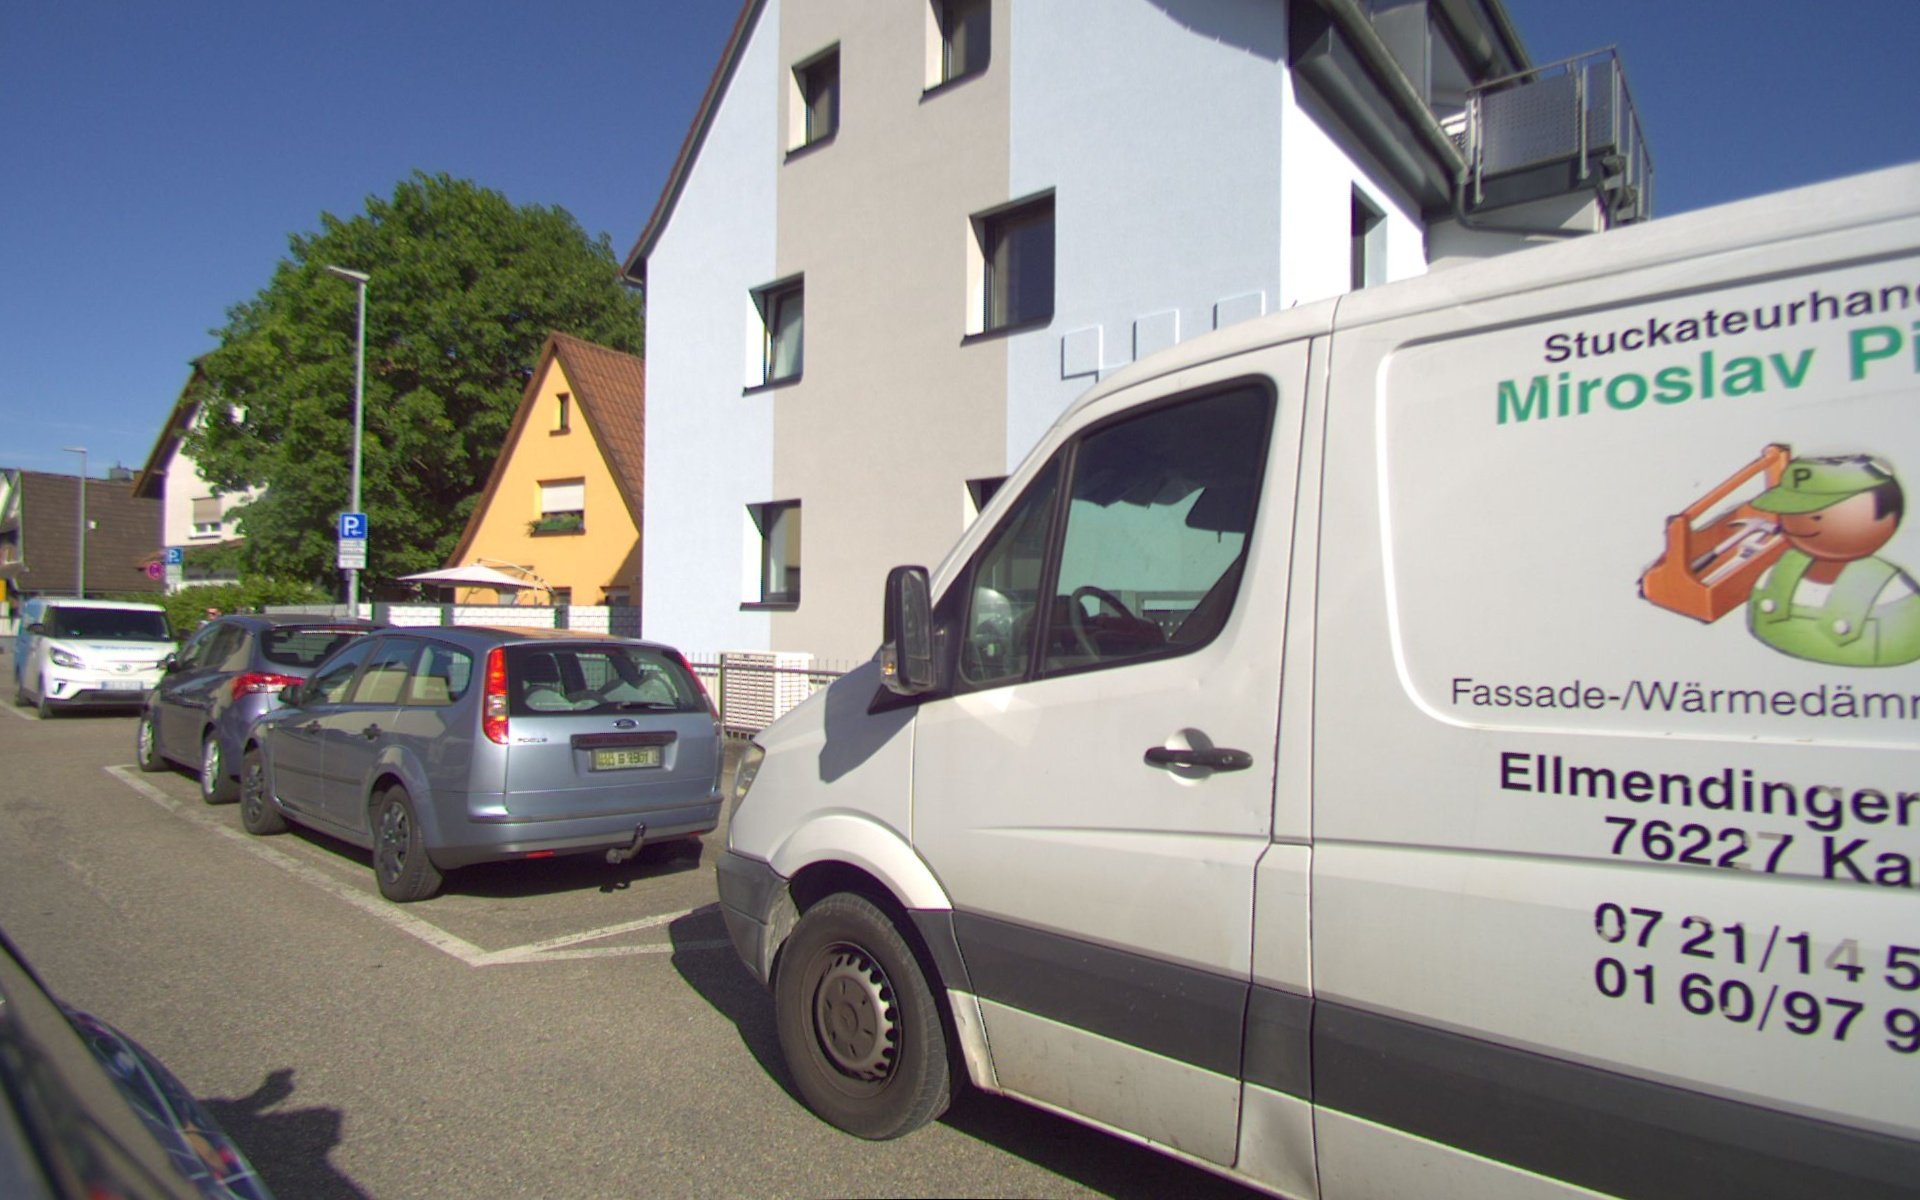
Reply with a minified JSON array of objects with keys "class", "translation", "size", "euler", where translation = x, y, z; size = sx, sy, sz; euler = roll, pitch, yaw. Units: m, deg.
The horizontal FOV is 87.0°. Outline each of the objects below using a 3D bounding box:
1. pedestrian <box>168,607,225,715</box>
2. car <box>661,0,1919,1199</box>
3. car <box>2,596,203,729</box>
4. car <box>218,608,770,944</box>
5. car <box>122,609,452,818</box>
[{"class":"pedestrian","translation":[-12.972,1.008,17.188],"size":[0.883,1.762,0.610],"euler":[-1,-1,42]},{"class":"car","translation":[1.996,0.333,2.297],"size":[6.062,2.408,2.174],"euler":[-1,-4,41]},{"class":"car","translation":[-14.605,0.948,17.124],"size":[5.068,1.932,1.882],"euler":[-1,-2,42]},{"class":"car","translation":[-3.258,0.856,6.637],"size":[4.233,1.516,1.693],"euler":[-1,-3,41]},{"class":"car","translation":[-6.618,0.917,9.794],"size":[3.924,1.610,1.696],"euler":[-1,-2,42]}]
